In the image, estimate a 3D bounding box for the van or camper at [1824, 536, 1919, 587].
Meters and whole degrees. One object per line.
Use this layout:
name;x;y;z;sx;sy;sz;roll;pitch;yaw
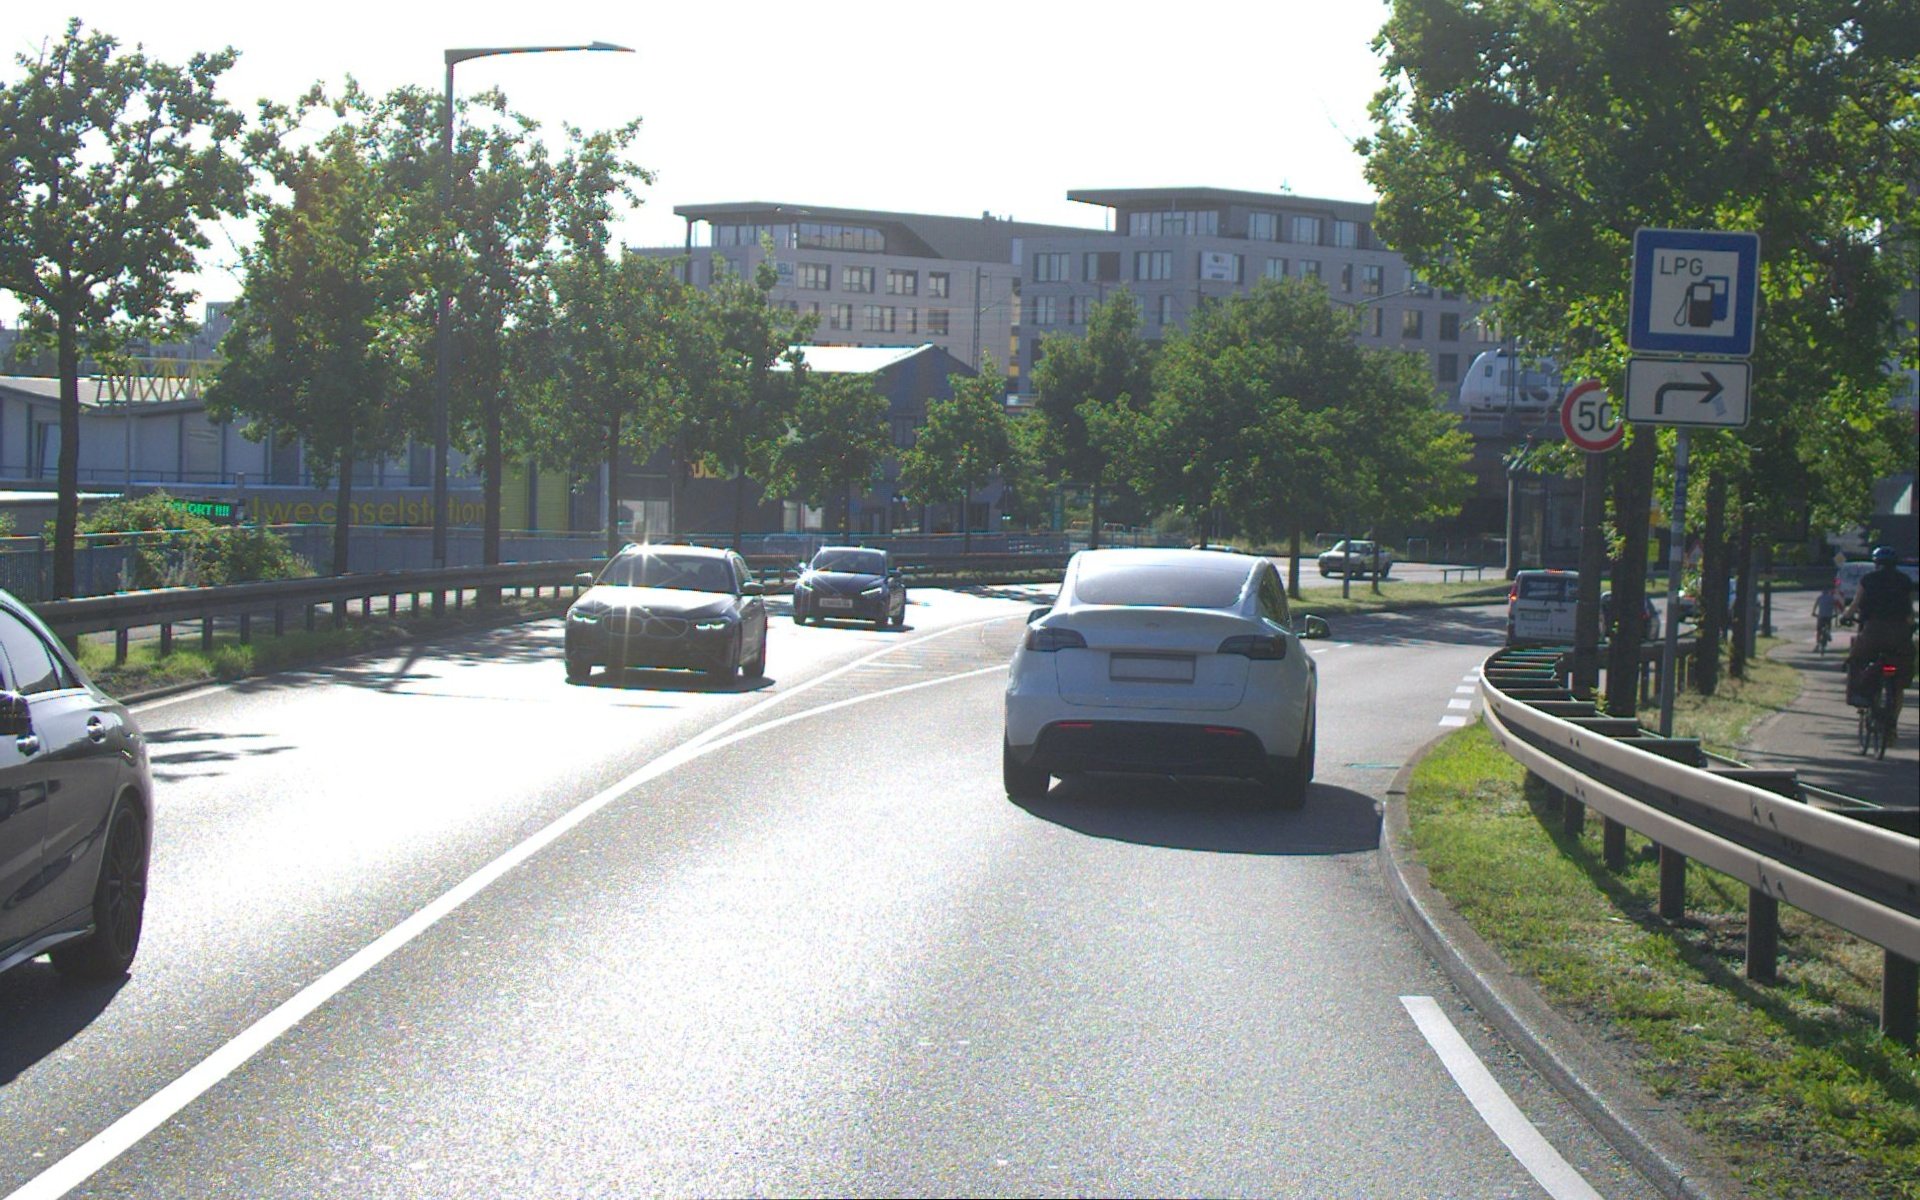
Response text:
van or camper;34.809;-1.446;130.742;1.830;1.784;4.534;6;4;40

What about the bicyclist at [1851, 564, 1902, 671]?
bicyclist;15.364;0.282;57.637;0.676;1.770;0.947;1;1;22

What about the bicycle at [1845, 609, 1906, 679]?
bicycle;15.325;0.725;57.527;0.696;1.091;2.115;1;1;22

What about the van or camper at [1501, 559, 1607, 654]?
van or camper;12.564;0.108;72.528;1.959;1.877;4.877;1;1;12

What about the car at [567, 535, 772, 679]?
car;-3.183;0.028;38.425;1.809;1.491;4.369;1;1;1

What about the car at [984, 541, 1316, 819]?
car;1.365;0.438;22.888;1.914;1.635;4.409;1;1;7

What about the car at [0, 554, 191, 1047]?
car;-3.677;0.590;10.426;1.691;1.436;4.216;1;1;1

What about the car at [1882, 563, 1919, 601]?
car;42.178;-0.791;150.932;1.712;1.517;3.733;5;4;42

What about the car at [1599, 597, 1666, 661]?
car;18.353;0.765;93.804;1.605;1.429;3.677;4;4;12

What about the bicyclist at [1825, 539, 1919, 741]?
bicyclist;7.333;0.312;27.593;0.708;1.573;1.004;1;0;13

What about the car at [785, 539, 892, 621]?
car;-2.256;-0.408;64.715;1.664;1.440;3.849;2;1;3

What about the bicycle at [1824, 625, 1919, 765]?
bicycle;7.360;0.747;27.739;0.701;1.071;1.920;1;0;13

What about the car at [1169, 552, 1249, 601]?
car;8.208;-0.763;113.172;1.763;1.484;4.274;4;1;15

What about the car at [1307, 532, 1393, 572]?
car;15.318;-1.880;134.835;1.732;1.381;4.489;5;2;28

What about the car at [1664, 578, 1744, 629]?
car;24.371;0.091;112.556;1.765;1.470;4.284;4;3;22
